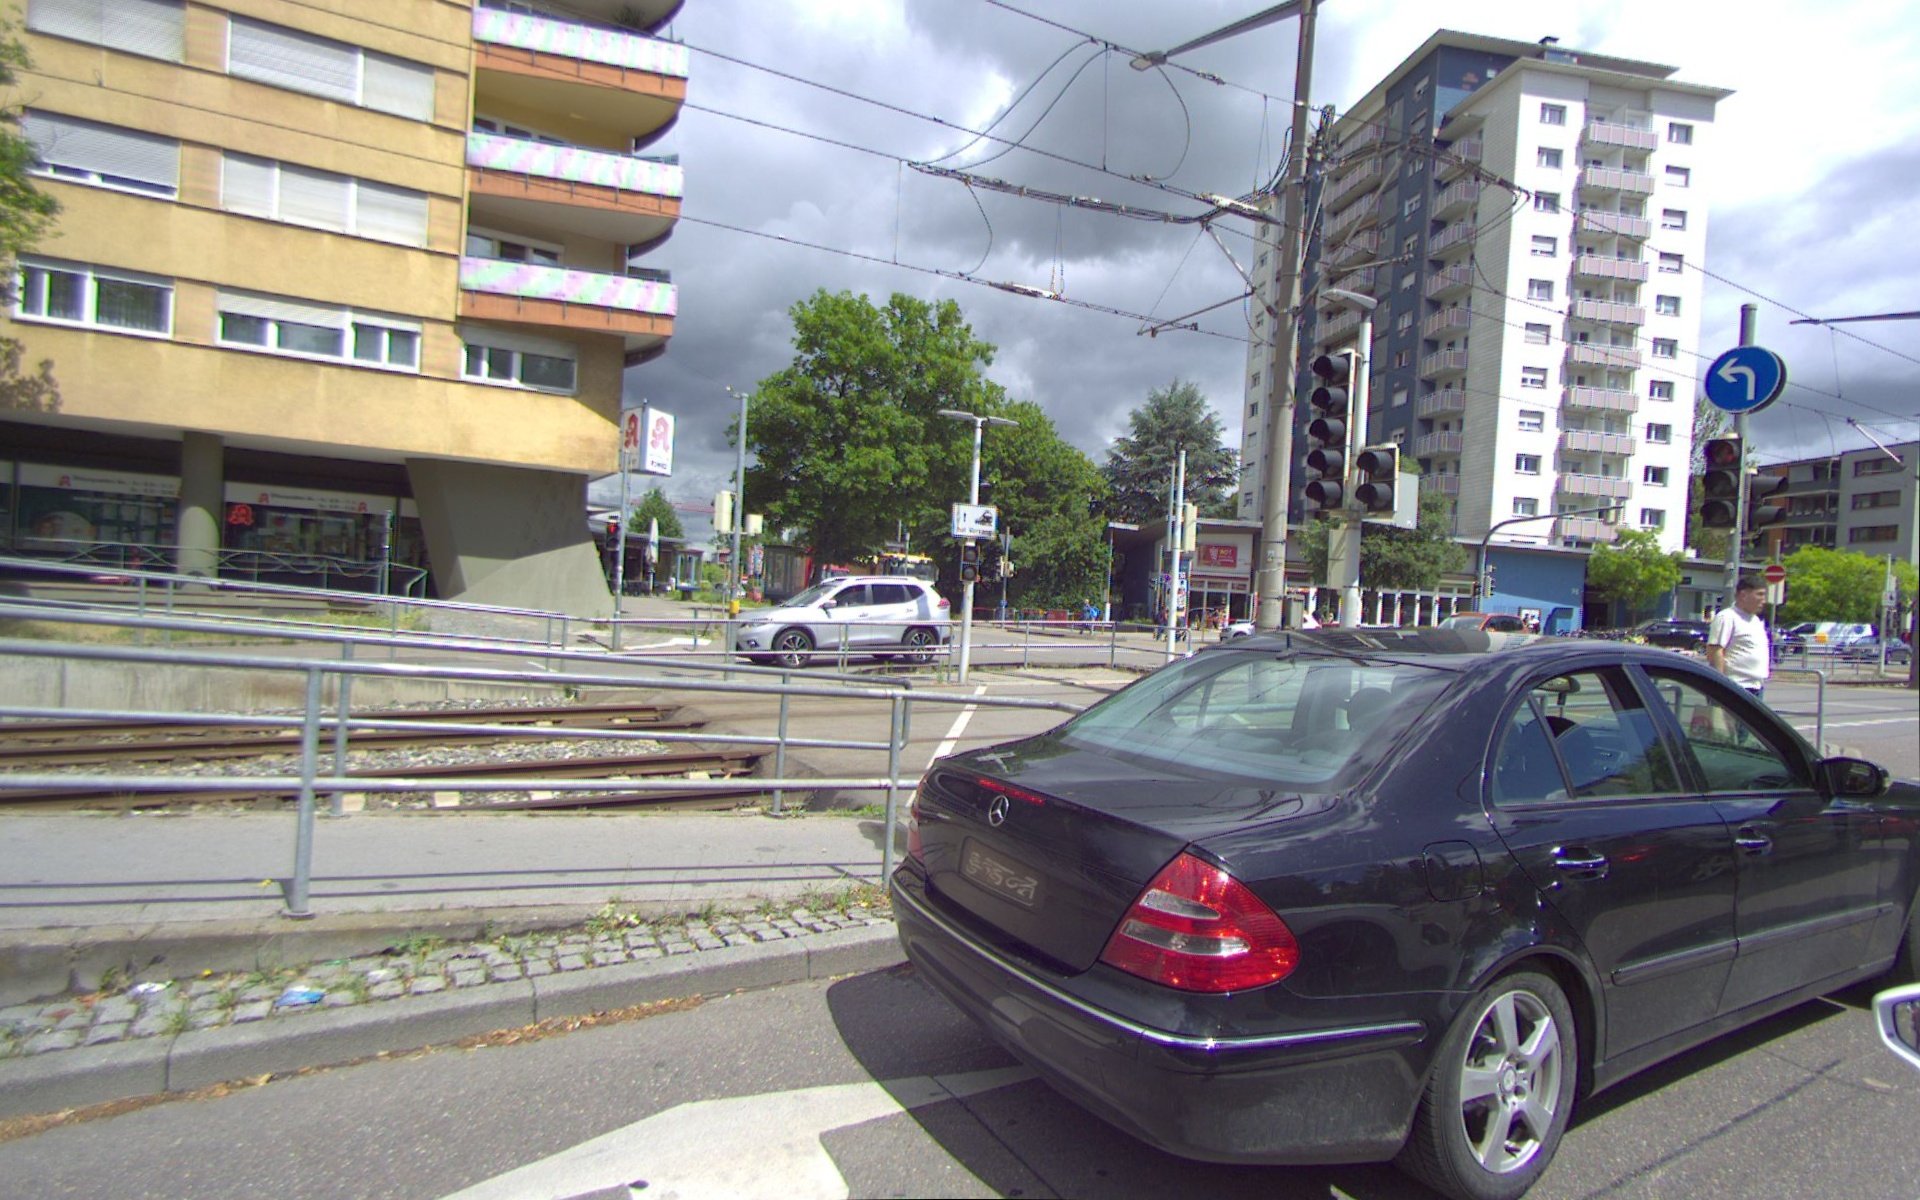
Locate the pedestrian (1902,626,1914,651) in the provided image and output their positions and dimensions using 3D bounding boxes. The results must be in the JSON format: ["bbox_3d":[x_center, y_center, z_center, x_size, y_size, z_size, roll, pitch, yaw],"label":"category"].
[{"bbox_3d":[67.016,2.725,71.011,0.401,1.739,0.542,1,1,-39],"label":"pedestrian"}]

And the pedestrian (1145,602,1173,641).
[{"bbox_3d":[8.864,0.962,44.791,0.977,1.681,0.969,2,-1,-4],"label":"pedestrian"}]

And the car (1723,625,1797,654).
[{"bbox_3d":[45.484,2.239,57.208,1.754,1.439,4.219,2,0,16],"label":"car"}]

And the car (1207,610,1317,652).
[{"bbox_3d":[11.697,1.183,38.929,3.920,1.416,1.698,2,0,19],"label":"car"}]

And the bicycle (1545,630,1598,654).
[{"bbox_3d":[26.608,1.824,43.736,0.490,0.947,1.934,2,0,-35],"label":"bicycle"}]

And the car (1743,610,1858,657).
[{"bbox_3d":[49.795,1.891,59.765,2.776,2.512,6.724,2,0,17],"label":"car"}]

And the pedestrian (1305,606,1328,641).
[{"bbox_3d":[16.808,1.114,47.405,0.693,1.637,0.760,1,1,-43],"label":"pedestrian"}]

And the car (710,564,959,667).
[{"bbox_3d":[-2.431,0.332,19.811,4.459,1.825,1.983,1,-1,-32],"label":"car"}]

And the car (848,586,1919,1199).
[{"bbox_3d":[1.997,0.761,3.783,4.490,1.481,1.720,2,0,-30],"label":"car"}]

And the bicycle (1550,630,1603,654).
[{"bbox_3d":[27.019,1.838,44.025,0.490,0.947,1.934,2,0,-35],"label":"bicycle"}]

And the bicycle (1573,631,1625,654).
[{"bbox_3d":[28.463,1.886,44.773,0.490,0.947,1.934,2,0,-35],"label":"bicycle"}]

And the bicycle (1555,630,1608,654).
[{"bbox_3d":[27.405,1.851,44.313,0.490,0.947,1.934,2,0,-35],"label":"bicycle"}]

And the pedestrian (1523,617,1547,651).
[{"bbox_3d":[29.437,1.749,51.432,0.930,1.681,1.098,1,-1,26],"label":"pedestrian"}]

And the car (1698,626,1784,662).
[{"bbox_3d":[34.297,1.901,44.078,4.205,1.433,1.621,1,0,-32],"label":"car"}]

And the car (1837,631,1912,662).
[{"bbox_3d":[45.729,2.330,50.202,4.445,1.418,1.625,2,0,-33],"label":"car"}]

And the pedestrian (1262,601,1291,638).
[{"bbox_3d":[16.965,1.040,53.779,1.200,1.942,0.860,1,1,-30],"label":"pedestrian"}]

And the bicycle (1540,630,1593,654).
[{"bbox_3d":[26.211,1.810,43.431,0.490,0.947,1.934,2,0,-35],"label":"bicycle"}]

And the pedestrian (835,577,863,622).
[{"bbox_3d":[-4.210,-0.012,38.040,0.770,1.638,0.759,-1,5,-29],"label":"pedestrian"}]

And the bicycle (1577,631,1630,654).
[{"bbox_3d":[28.842,1.899,45.061,0.490,0.947,1.934,2,0,-35],"label":"bicycle"}]

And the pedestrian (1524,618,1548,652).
[{"bbox_3d":[28.863,1.750,50.360,0.930,1.681,1.098,1,-1,26],"label":"pedestrian"}]

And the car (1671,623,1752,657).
[{"bbox_3d":[40.195,2.110,53.875,1.921,1.591,4.220,2,0,13],"label":"car"}]

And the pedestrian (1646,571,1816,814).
[{"bbox_3d":[6.232,0.699,8.135,0.734,1.832,0.863,1,1,-33],"label":"pedestrian"}]

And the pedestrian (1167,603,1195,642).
[{"bbox_3d":[9.888,0.995,44.964,0.977,1.681,0.969,2,-1,-4],"label":"pedestrian"}]

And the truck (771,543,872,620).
[{"bbox_3d":[-6.958,-0.864,49.070,2.692,3.320,8.877,1,0,-22],"label":"truck"}]

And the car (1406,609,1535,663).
[{"bbox_3d":[16.978,1.176,33.344,4.415,1.656,1.981,1,-1,-35],"label":"car"}]

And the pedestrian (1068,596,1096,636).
[{"bbox_3d":[5.399,0.702,44.542,0.771,1.636,0.759,6,1,-30],"label":"pedestrian"}]

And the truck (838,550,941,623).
[{"bbox_3d":[-3.598,-0.618,49.206,2.733,3.244,7.443,1,0,-23],"label":"truck"}]

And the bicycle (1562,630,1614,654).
[{"bbox_3d":[27.868,1.867,44.591,0.490,0.947,1.934,2,0,-35],"label":"bicycle"}]
